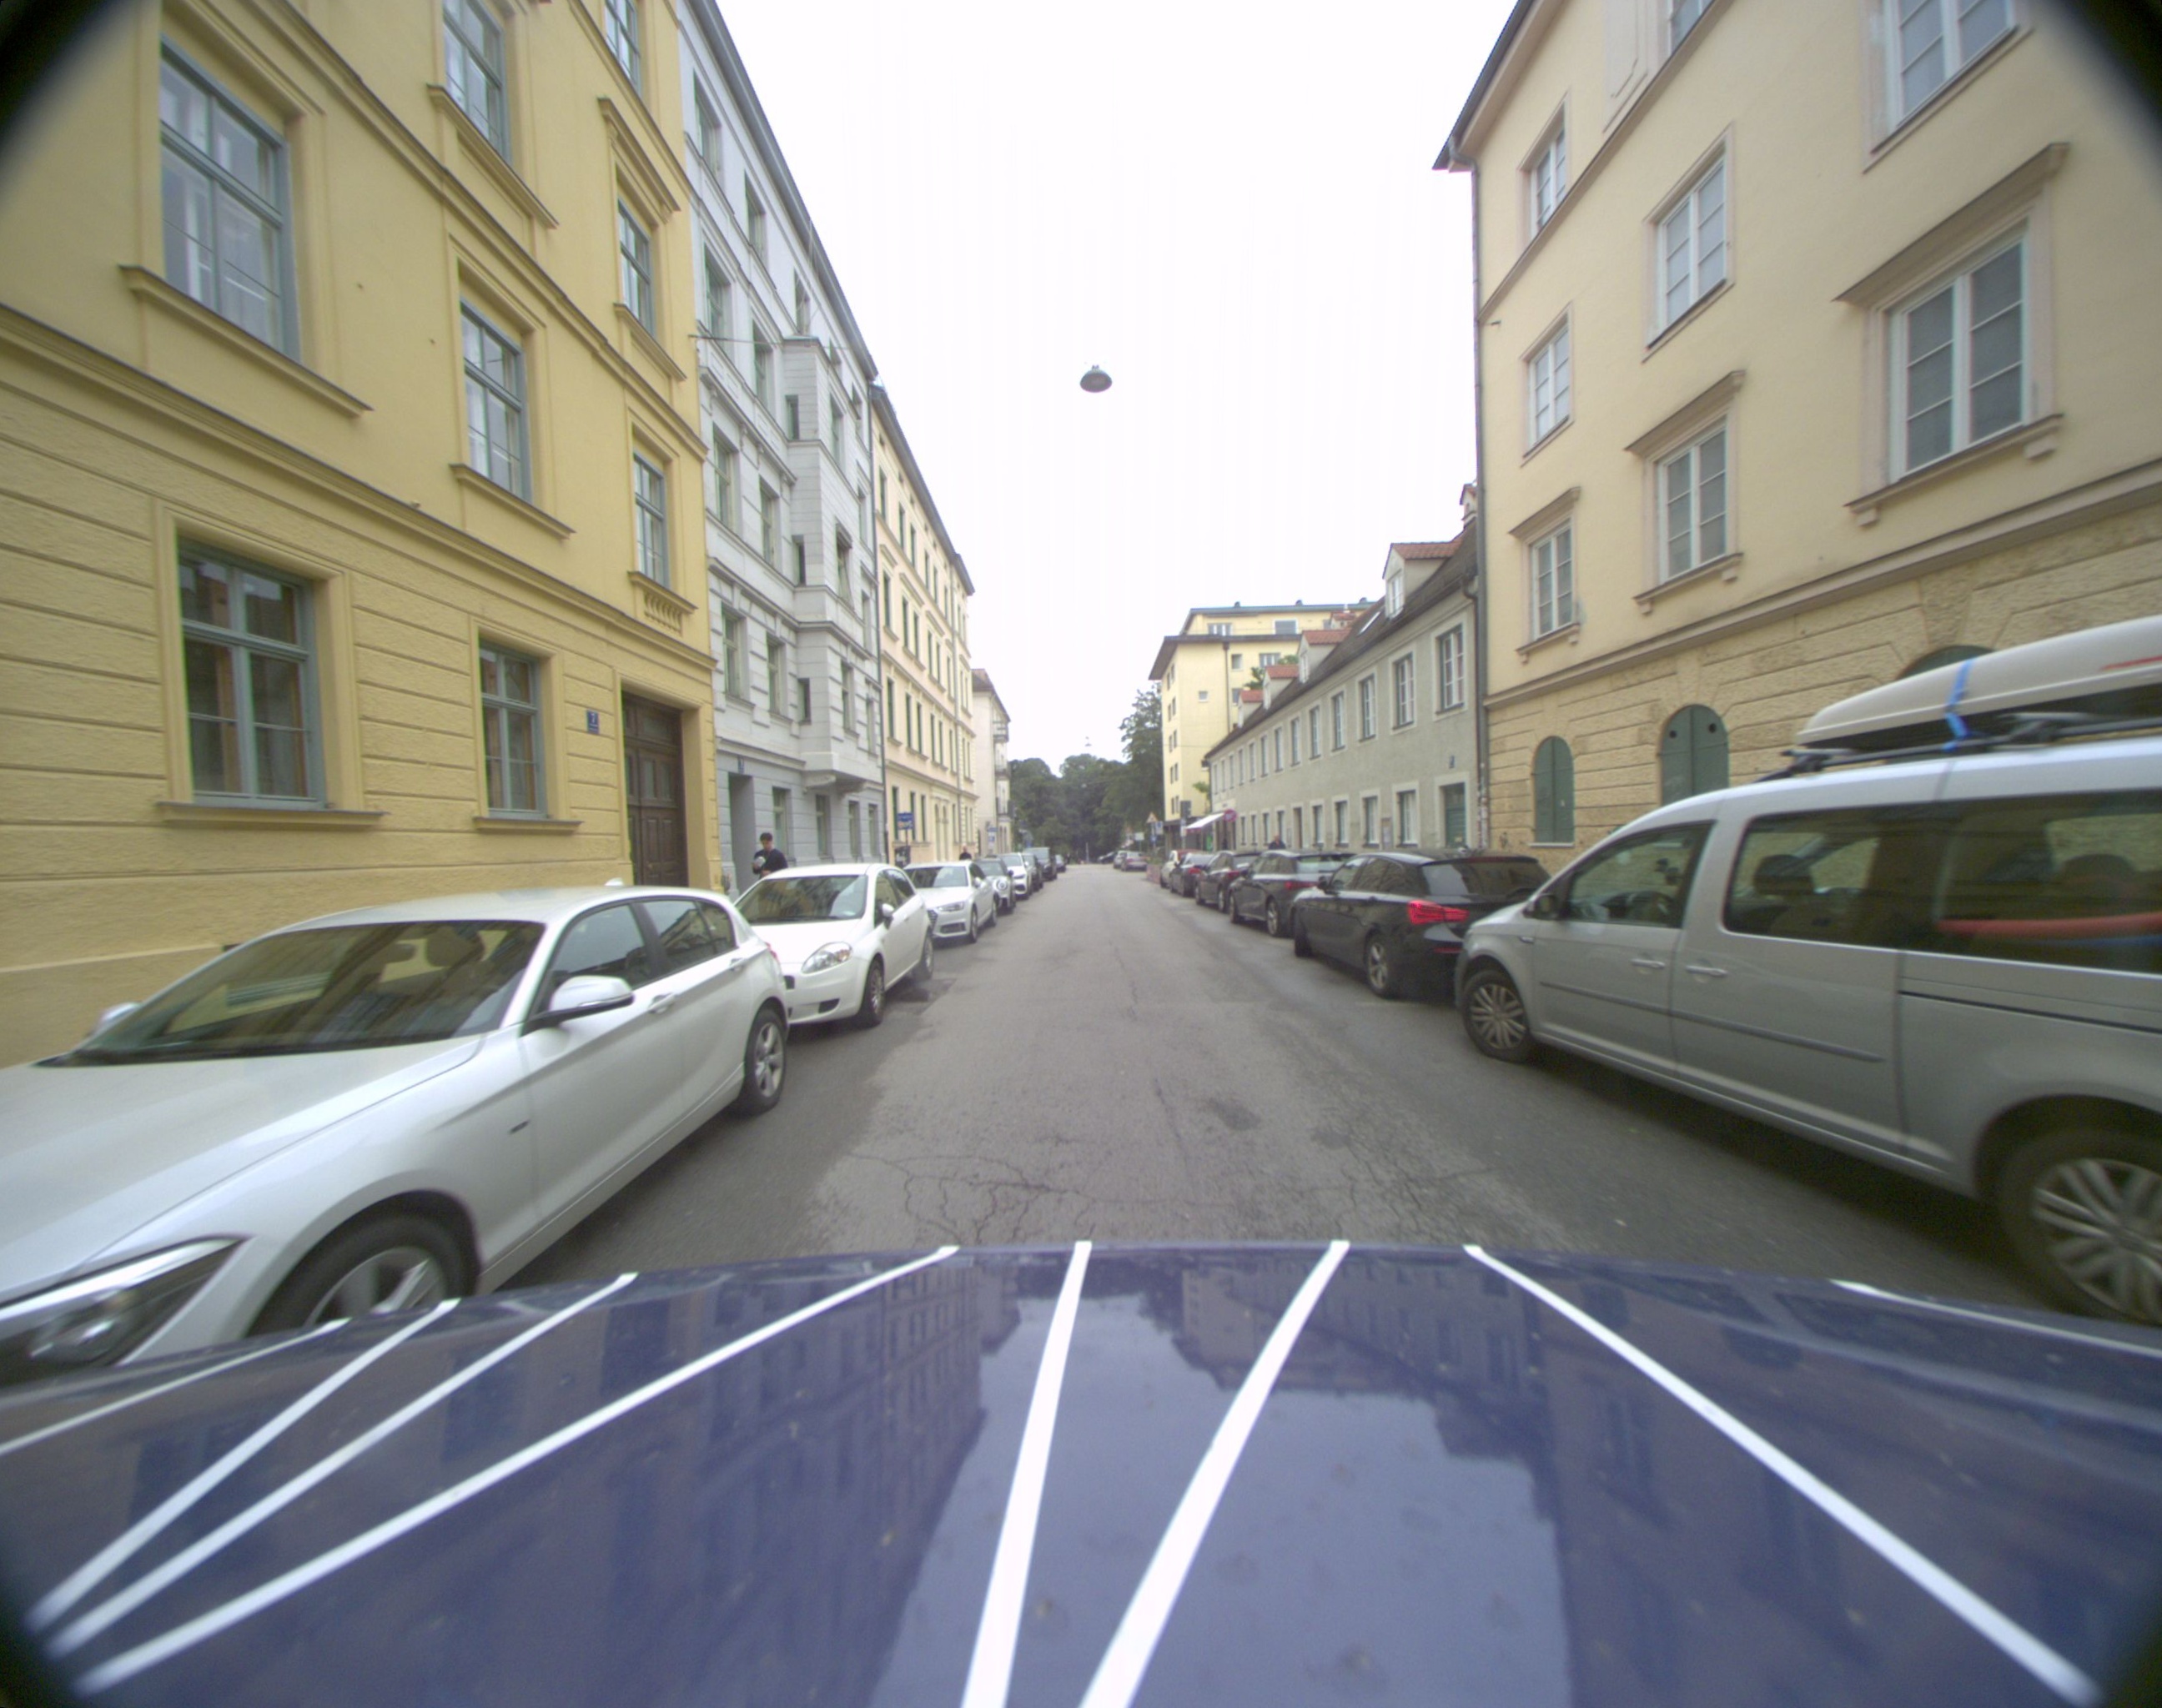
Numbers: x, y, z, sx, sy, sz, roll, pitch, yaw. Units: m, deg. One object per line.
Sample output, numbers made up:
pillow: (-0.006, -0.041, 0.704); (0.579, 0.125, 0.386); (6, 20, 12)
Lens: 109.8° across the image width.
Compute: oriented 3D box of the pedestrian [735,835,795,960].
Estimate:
pedestrian: (-5.185, 0.689, 12.493); (0.671, 1.969, 0.708); (1, 3, 1)

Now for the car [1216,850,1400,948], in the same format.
car: (3.785, 0.667, 13.471); (1.821, 1.433, 4.130); (-1, 0, -3)

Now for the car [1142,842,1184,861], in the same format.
car: (9.572, -0.282, 88.439); (4.422, 1.990, 1.933); (-2, 2, -14)

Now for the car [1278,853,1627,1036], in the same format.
car: (3.627, 0.747, 8.366); (1.759, 1.401, 4.102); (-2, 1, -1)

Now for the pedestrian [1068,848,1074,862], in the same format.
pedestrian: (-1.223, 0.147, 94.418); (0.686, 1.662, 0.774); (-4, -2, 1)

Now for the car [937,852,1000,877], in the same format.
car: (-7.795, 0.742, 52.939); (4.099, 1.595, 1.755); (-2, -1, -1)

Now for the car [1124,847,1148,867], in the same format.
car: (4.308, 0.216, 60.221); (1.683, 1.463, 4.097); (-1, 0, 1)

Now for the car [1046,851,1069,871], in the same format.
car: (-1.898, 0.547, 60.837); (1.680, 1.416, 4.203); (-4, 0, -2)

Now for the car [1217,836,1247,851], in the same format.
car: (22.811, -1.571, 114.645); (3.958, 2.093, 1.908); (-2, 2, 31)

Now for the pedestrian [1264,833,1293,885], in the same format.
pedestrian: (7.380, 0.180, 28.398); (0.824, 1.887, 0.827); (-2, 2, -1)

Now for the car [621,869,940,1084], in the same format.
car: (-2.687, 0.982, 7.898); (1.712, 1.446, 4.095); (-2, 1, -1)

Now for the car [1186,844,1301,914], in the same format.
car: (3.878, 0.520, 18.828); (1.759, 1.488, 4.199); (-2, 1, -2)

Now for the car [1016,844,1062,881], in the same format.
car: (-2.282, 0.437, 42.799); (2.002, 1.853, 5.253); (-3, 1, 2)

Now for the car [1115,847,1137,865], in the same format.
car: (4.084, 0.204, 69.208); (1.807, 1.574, 4.338); (-1, -1, 1)

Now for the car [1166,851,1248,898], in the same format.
car: (3.973, 0.601, 24.741); (1.803, 1.331, 4.685); (-2, 0, 0)

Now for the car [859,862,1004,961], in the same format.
car: (-2.628, 0.941, 14.557); (1.712, 1.400, 4.814); (-2, 1, 1)

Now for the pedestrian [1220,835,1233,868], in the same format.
pedestrian: (7.953, -0.132, 41.582); (0.530, 1.772, 0.877); (-2, 2, 1)

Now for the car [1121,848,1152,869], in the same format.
car: (4.019, 0.290, 55.396); (1.683, 1.463, 4.948); (-1, 0, -2)

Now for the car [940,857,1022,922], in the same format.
car: (-2.554, 0.861, 20.277); (1.712, 1.396, 4.206); (-2, 1, -2)

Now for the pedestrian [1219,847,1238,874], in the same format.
pedestrian: (7.488, 0.331, 38.575); (0.805, 1.283, 0.693); (-2, 2, 1)

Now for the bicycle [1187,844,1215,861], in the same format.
bicycle: (8.258, -0.114, 52.376); (1.822, 1.029, 0.392); (-4, 0, 3)

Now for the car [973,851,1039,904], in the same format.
car: (-2.518, 0.732, 26.469); (1.747, 1.574, 4.466); (-2, 1, 1)

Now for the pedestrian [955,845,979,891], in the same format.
pedestrian: (-4.417, 0.536, 29.409); (0.721, 1.708, 1.003); (-2, 2, -1)

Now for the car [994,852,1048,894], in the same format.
car: (-2.403, 0.719, 31.308); (1.759, 1.512, 4.274); (-2, 1, 1)

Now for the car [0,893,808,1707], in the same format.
car: (-2.718, 1.026, 3.118); (1.712, 1.384, 4.205); (-2, 1, -1)

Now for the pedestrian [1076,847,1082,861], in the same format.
pedestrian: (-0.248, 0.061, 94.299); (0.639, 1.662, 0.774); (-4, -2, 1)

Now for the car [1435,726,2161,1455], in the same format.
car: (3.701, 0.596, 3.453); (1.759, 1.983, 4.623); (-2, 1, -4)

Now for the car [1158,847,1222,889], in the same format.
car: (4.179, 0.501, 29.757); (1.759, 1.466, 3.712); (-3, 1, -2)
